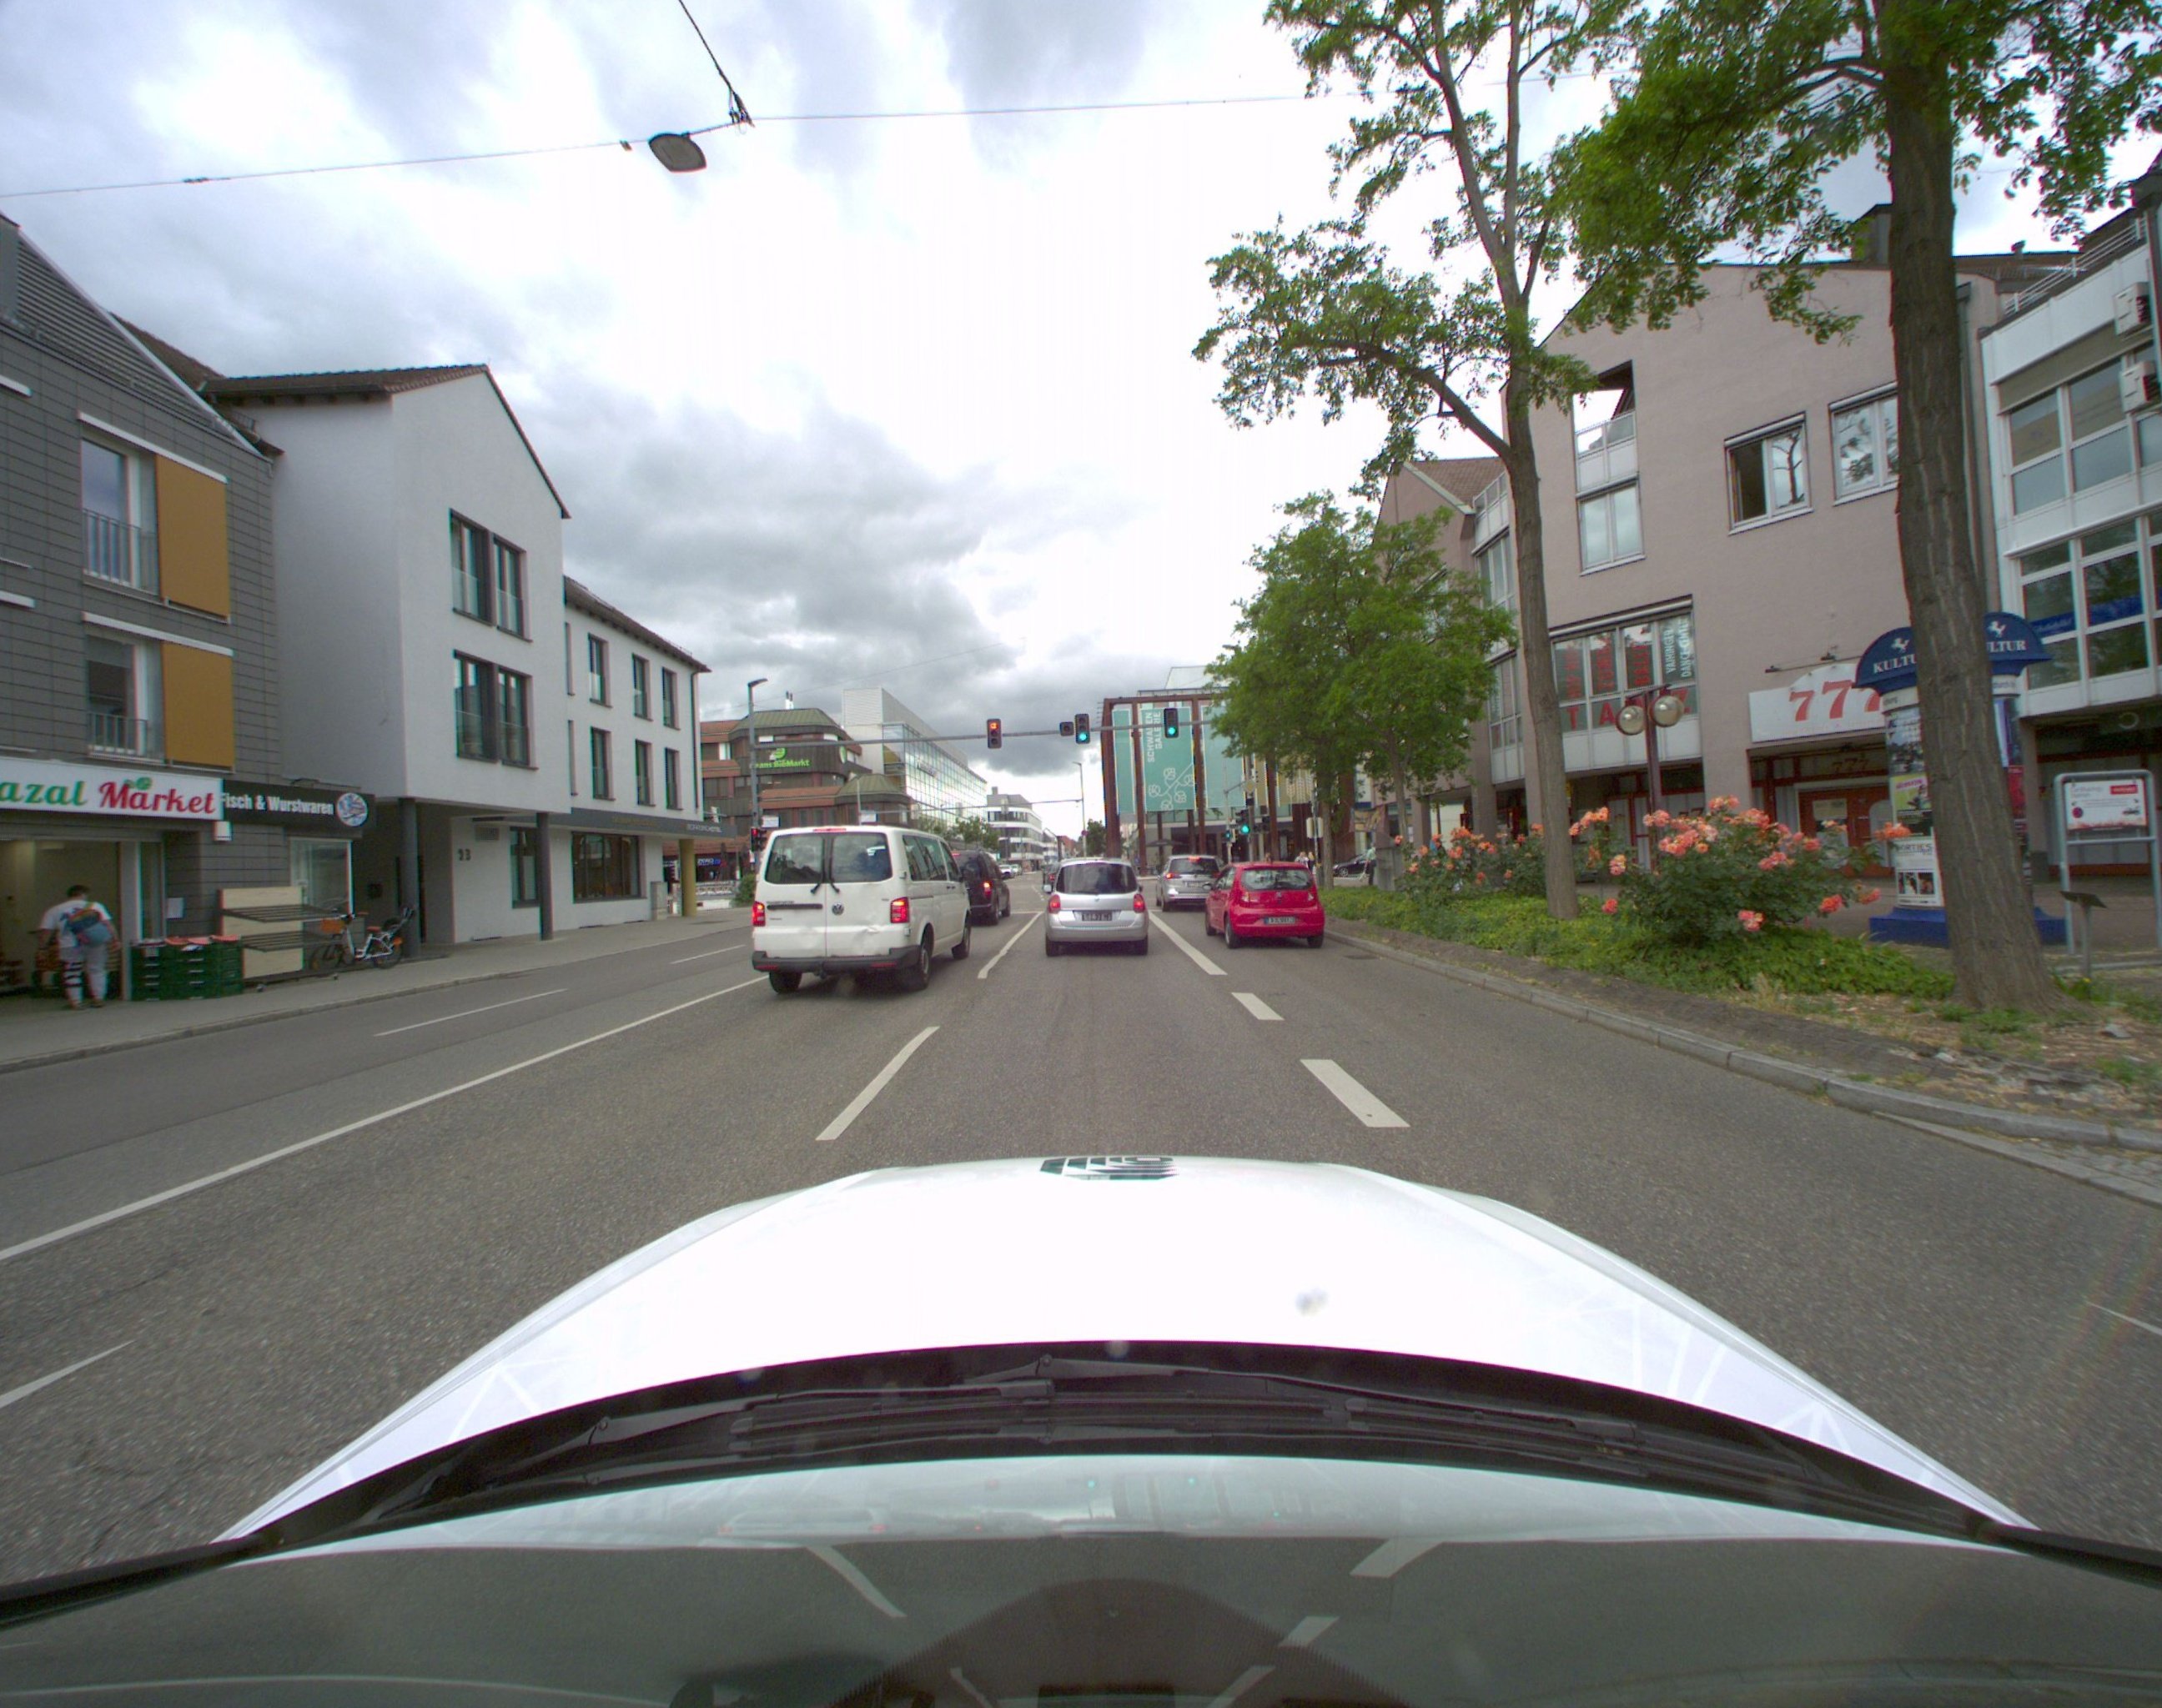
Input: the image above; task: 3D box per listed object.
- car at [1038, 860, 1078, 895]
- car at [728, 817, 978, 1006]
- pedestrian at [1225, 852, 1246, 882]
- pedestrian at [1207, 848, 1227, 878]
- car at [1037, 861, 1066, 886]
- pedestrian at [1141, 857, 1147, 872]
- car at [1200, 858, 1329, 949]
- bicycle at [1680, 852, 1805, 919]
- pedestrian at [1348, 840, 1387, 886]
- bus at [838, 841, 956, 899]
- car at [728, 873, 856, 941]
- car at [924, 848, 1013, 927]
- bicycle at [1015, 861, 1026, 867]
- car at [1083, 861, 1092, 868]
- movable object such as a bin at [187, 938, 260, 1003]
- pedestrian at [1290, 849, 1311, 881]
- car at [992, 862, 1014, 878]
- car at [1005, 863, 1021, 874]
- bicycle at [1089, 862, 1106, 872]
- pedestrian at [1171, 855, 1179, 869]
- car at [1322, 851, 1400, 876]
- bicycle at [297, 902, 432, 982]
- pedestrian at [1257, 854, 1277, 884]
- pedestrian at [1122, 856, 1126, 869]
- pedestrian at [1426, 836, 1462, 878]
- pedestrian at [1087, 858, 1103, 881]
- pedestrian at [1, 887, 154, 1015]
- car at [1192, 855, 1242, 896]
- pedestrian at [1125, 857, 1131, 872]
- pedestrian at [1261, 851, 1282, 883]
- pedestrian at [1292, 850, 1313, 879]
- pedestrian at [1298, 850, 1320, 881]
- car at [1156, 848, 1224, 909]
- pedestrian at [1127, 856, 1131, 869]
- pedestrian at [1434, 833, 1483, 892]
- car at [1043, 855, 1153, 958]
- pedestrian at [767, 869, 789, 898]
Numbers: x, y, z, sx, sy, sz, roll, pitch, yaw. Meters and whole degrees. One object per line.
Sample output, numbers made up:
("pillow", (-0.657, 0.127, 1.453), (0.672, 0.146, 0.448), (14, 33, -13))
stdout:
("car", (-1.051, 1.065, 38.812), (1.664, 1.554, 3.642), (-1, 0, 1))
("car", (-2.797, 0.642, 11.313), (1.986, 2.014, 4.840), (-1, 0, 1))
("pedestrian", (8.953, 0.773, 47.298), (0.876, 1.681, 1.119), (-3, -1, -2))
("pedestrian", (7.901, 0.539, 47.256), (0.876, 1.681, 1.119), (-3, -1, -2))
("car", (-1.882, 1.253, 53.107), (1.664, 1.495, 3.642), (-1, 0, 1))
("pedestrian", (5.233, 0.882, 67.836), (0.445, 1.220, 0.607), (-3, -1, 5))
("car", (3.273, 0.822, 15.141), (1.621, 1.448, 3.642), (-1, 0, 1))
("bicycle", (10.942, 0.526, 13.509), (1.549, 1.048, 0.409), (-4, -1, 43))
("pedestrian", (11.116, 0.335, 31.651), (1.052, 1.715, 1.110), (-3, -1, 0))
("bus", (-12.376, 0.908, 56.587), (2.968, 3.327, 12.344), (-5, 0, 11))
("car", (-7.373, 1.296, 21.211), (1.752, 1.448, 4.036), (-3, -1, 1))
("car", (-2.828, 0.789, 21.374), (1.703, 1.821, 4.569), (-1, 0, -1))
("bicycle", (-10.420, 1.667, 140.784), (1.010, 1.018, 3.106), (0, -1, -22))
("car", (1.461, 2.379, 179.960), (1.654, 1.465, 4.001), (-4, 0, 1))
("movable object such as a bin", (-13.083, 1.762, 12.433), (0.549, 0.899, 0.506), (-2, 0, -1))
("pedestrian", (11.725, 0.591, 43.561), (0.739, 1.626, 0.953), (-3, 0, -3))
("car", (-7.926, 1.629, 83.180), (1.738, 1.459, 4.235), (-4, 0, 1))
("car", (-9.349, 1.993, 112.220), (1.654, 1.465, 4.001), (-4, 0, 1))
("bicycle", (1.657, 1.299, 81.401), (1.553, 0.992, 0.753), (-3, -1, 4))
("pedestrian", (8.432, 0.731, 73.035), (0.513, 1.208, 0.795), (-3, 0, -1))
("car", (17.341, 0.575, 50.557), (4.162, 1.404, 1.799), (-2, 0, -2))
("bicycle", (-13.147, 1.581, 15.042), (0.580, 1.232, 2.119), (-2, 0, 0))
("pedestrian", (10.242, 0.827, 44.809), (0.739, 1.626, 0.953), (-3, 0, -3))
("pedestrian", (5.117, 0.983, 96.667), (0.425, 1.549, 0.481), (-3, -1, -1))
("pedestrian", (14.190, 0.133, 31.892), (0.828, 1.584, 1.057), (-3, -1, -4))
("pedestrian", (1.054, 1.134, 59.934), (0.861, 1.646, 0.685), (-3, 0, 35))
("pedestrian", (-14.119, 1.332, 11.494), (0.884, 1.643, 0.971), (-3, -1, 0))
("car", (5.893, 0.860, 34.931), (1.838, 1.609, 4.878), (-1, 0, 12))
("pedestrian", (3.913, 0.911, 67.919), (0.446, 1.220, 0.607), (-3, -1, 3))
("pedestrian", (11.048, 0.747, 47.280), (0.876, 1.767, 1.119), (-3, -1, -2))
("pedestrian", (12.808, 0.618, 47.070), (0.819, 1.595, 1.038), (-3, -1, -2))
("pedestrian", (13.559, 0.688, 48.487), (0.876, 1.767, 1.119), (-3, -1, -2))
("car", (3.289, 0.712, 25.319), (1.732, 1.701, 4.384), (-1, 0, 3))
("pedestrian", (5.682, 0.971, 96.787), (0.425, 1.549, 0.481), (-3, -1, -1))
("pedestrian", (10.924, 0.242, 23.618), (0.806, 1.626, 1.093), (-3, 0, -2))
("car", (0.303, 0.810, 14.349), (1.664, 1.554, 3.642), (-1, 0, 1))
("pedestrian", (-19.103, 1.882, 51.394), (0.944, 1.755, 0.945), (-3, -1, 2))
